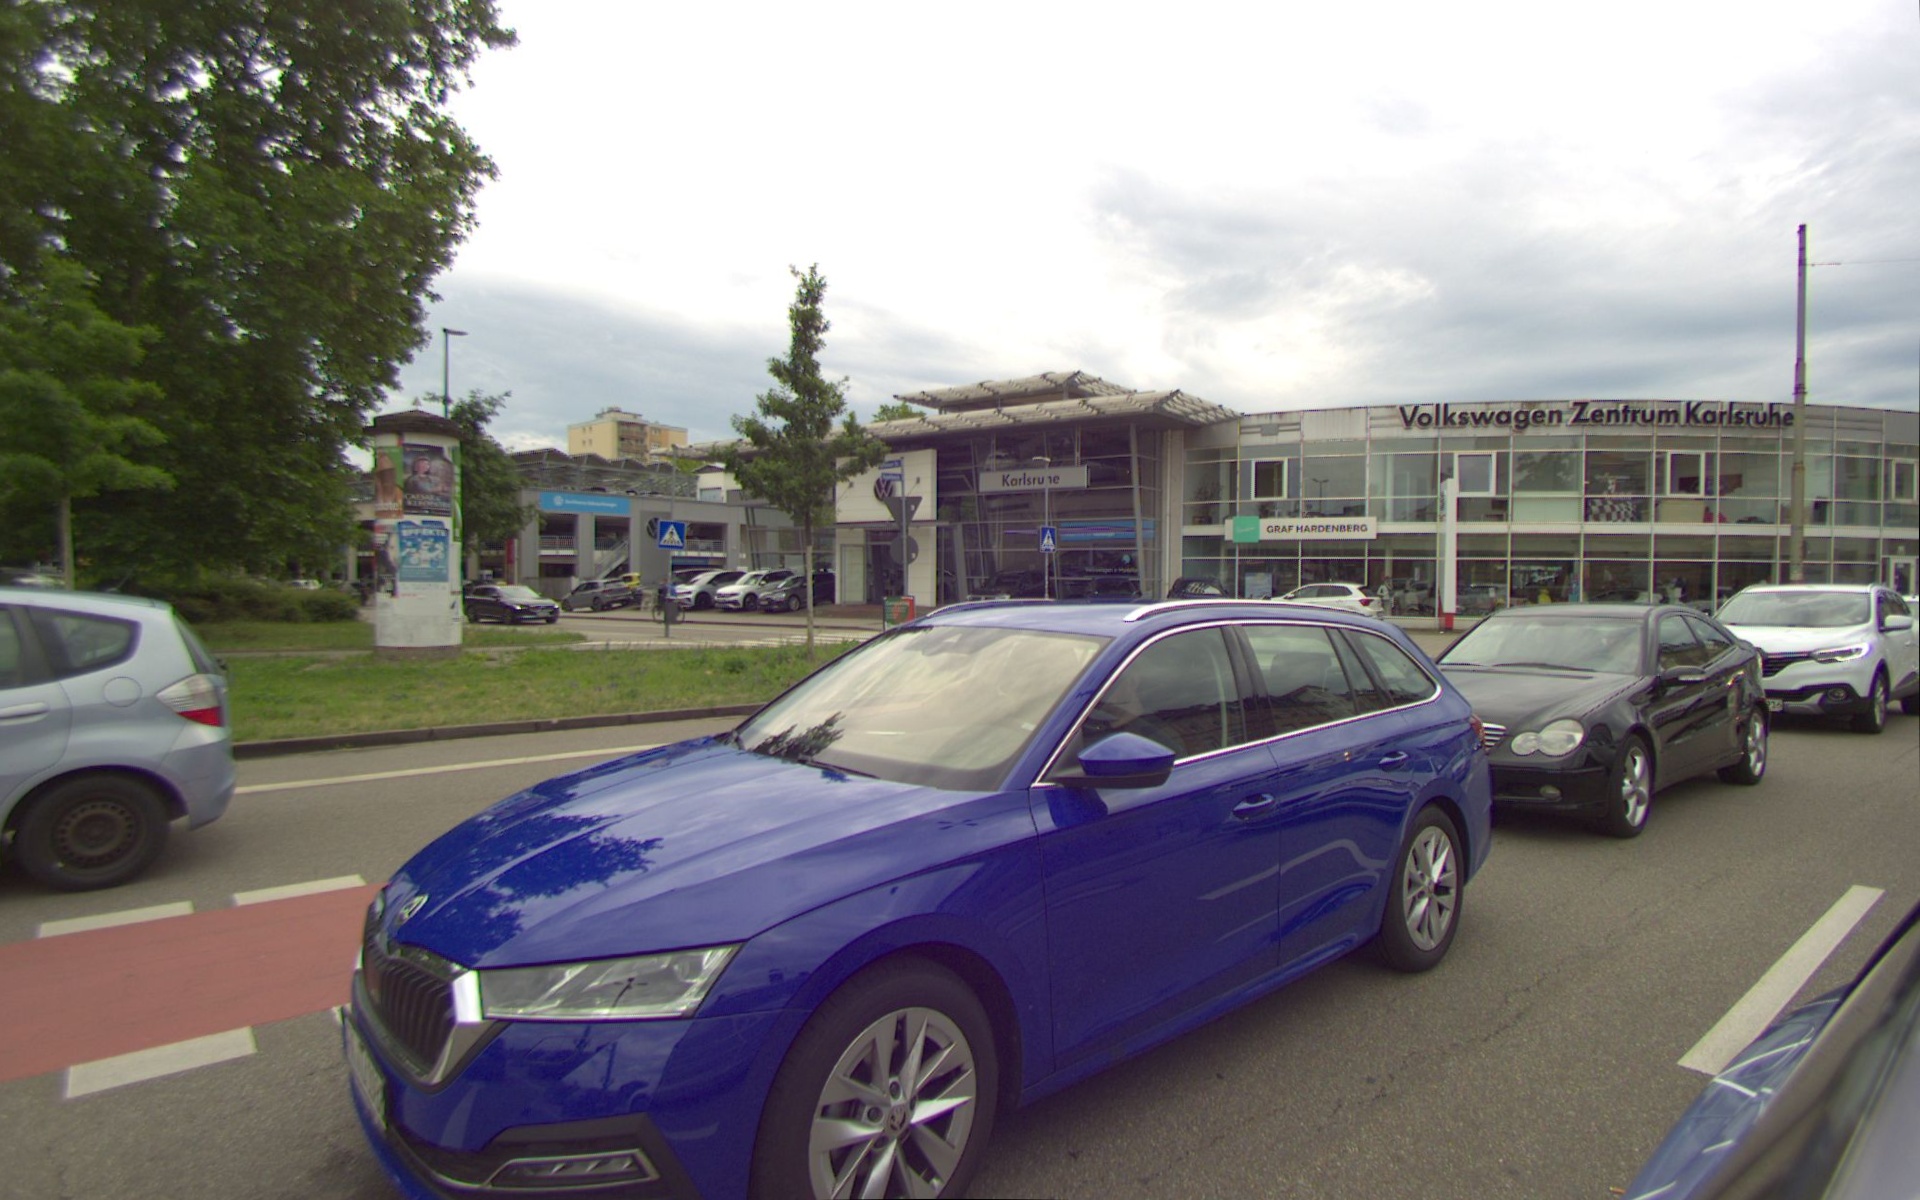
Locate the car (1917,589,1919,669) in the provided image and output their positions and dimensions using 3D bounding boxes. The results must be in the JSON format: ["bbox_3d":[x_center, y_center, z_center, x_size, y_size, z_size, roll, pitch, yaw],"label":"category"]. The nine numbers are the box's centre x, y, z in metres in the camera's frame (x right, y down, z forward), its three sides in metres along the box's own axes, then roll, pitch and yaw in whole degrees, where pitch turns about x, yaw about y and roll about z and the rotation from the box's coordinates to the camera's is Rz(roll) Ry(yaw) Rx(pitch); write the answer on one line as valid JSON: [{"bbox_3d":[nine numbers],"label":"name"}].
[{"bbox_3d":[19.484,0.527,18.795,3.899,1.454,1.908,-1,2,-38],"label":"car"}]

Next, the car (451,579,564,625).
[{"bbox_3d":[-17.233,0.020,38.423,4.856,1.562,1.866,2,2,38],"label":"car"}]

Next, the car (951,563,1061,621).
[{"bbox_3d":[1.730,-0.350,36.245,1.942,1.662,4.628,1,6,31],"label":"car"}]

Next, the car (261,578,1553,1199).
[{"bbox_3d":[0.353,0.655,3.727,4.674,1.454,1.768,-1,1,-41],"label":"car"}]

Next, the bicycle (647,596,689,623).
[{"bbox_3d":[-10.899,0.351,37.711,1.779,0.923,0.555,1,2,36],"label":"bicycle"}]

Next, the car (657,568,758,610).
[{"bbox_3d":[-11.547,-0.539,46.504,1.946,1.483,4.178,2,7,37],"label":"car"}]

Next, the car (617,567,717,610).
[{"bbox_3d":[-13.831,-0.585,47.982,1.946,1.529,4.179,2,8,37],"label":"car"}]

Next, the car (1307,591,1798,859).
[{"bbox_3d":[4.554,0.653,7.487,4.344,1.387,1.769,-1,1,-40],"label":"car"}]

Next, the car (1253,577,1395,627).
[{"bbox_3d":[11.525,0.019,32.161,3.889,1.459,1.708,2,2,40],"label":"car"}]

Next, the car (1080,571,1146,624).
[{"bbox_3d":[5.146,-0.139,33.609,1.927,1.543,4.216,1,3,12],"label":"car"}]

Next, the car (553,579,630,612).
[{"bbox_3d":[-18.100,-0.251,49.648,4.128,1.531,1.633,2,2,38],"label":"car"}]

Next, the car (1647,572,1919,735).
[{"bbox_3d":[9.949,0.473,11.866,4.069,1.578,1.983,-1,2,-38],"label":"car"}]

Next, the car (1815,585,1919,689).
[{"bbox_3d":[15.101,0.516,15.806,3.899,1.454,1.908,-1,2,-38],"label":"car"}]

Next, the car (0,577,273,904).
[{"bbox_3d":[-5.628,0.655,4.675,3.867,1.502,1.707,-1,1,-43],"label":"car"}]

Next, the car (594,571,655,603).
[{"bbox_3d":[-17.258,-0.688,52.009,3.106,1.530,1.423,1,6,38],"label":"car"}]

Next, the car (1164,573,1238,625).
[{"bbox_3d":[7.787,-0.094,33.033,1.759,1.580,4.030,0,1,5],"label":"car"}]

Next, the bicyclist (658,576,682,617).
[{"bbox_3d":[-10.764,-0.140,37.589,0.691,1.515,0.548,1,1,36],"label":"bicyclist"}]

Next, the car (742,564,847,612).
[{"bbox_3d":[-7.008,-0.562,43.102,1.946,1.472,4.181,2,9,37],"label":"car"}]

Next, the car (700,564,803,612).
[{"bbox_3d":[-9.180,-0.591,44.905,1.946,1.614,4.180,2,8,37],"label":"car"}]
